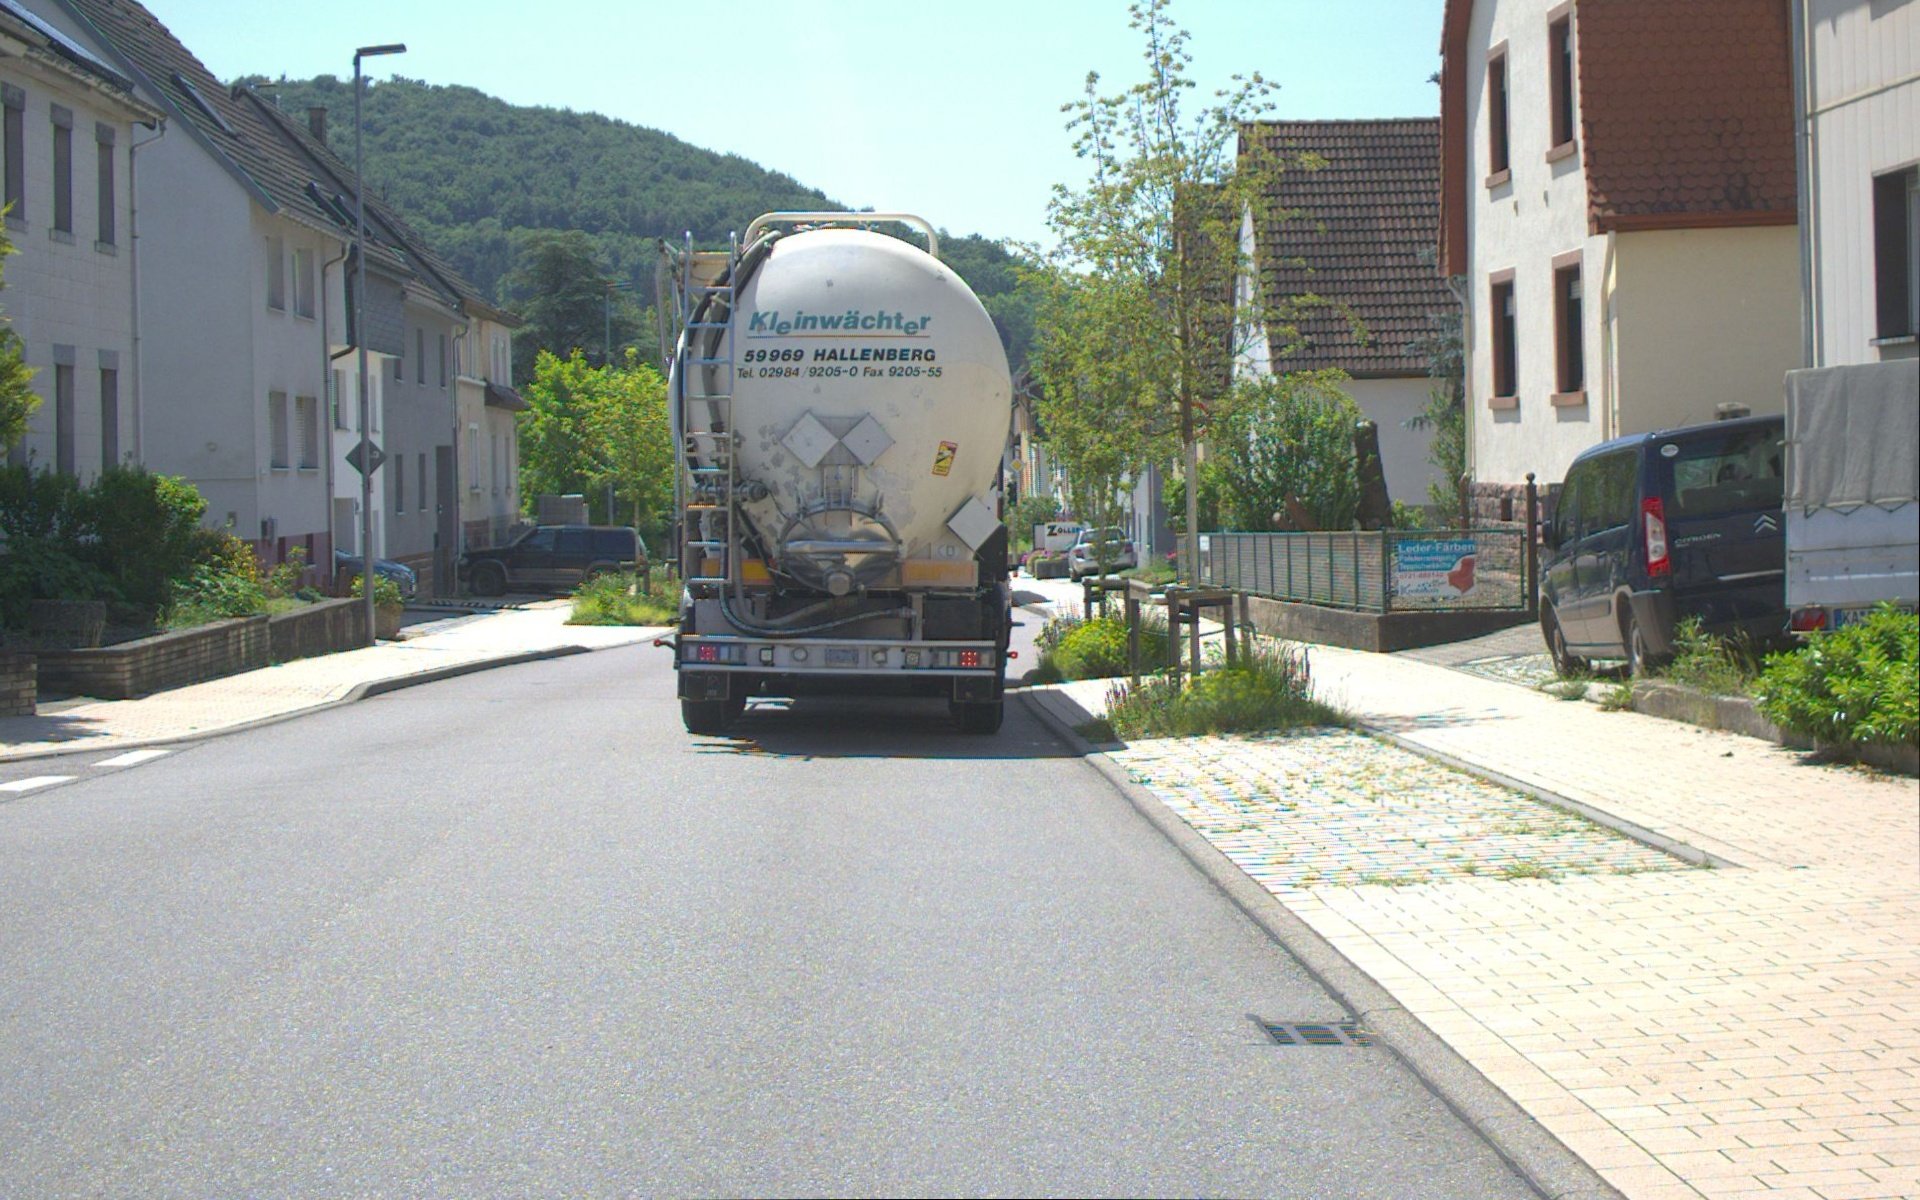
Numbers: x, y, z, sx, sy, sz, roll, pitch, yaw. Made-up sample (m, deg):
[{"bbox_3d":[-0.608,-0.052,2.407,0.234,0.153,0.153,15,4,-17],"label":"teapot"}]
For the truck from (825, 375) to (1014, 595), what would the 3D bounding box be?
[{"bbox_3d":[-1.103,-2.717,83.069,3.910,4.879,9.798,-2,1,-4],"label":"truck"}]

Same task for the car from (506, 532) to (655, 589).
[{"bbox_3d":[-9.819,-1.022,88.884,3.546,1.434,1.695,0,1,33],"label":"car"}]

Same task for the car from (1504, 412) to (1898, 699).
[{"bbox_3d":[5.672,-0.354,26.958,1.852,1.964,4.774,-3,1,-2],"label":"car"}]

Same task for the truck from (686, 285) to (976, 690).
[{"bbox_3d":[-1.290,-1.141,36.425,2.808,3.923,6.099,0,1,-1],"label":"truck"}]

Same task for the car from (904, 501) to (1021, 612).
[{"bbox_3d":[0.026,-0.785,60.969,1.993,1.897,4.000,0,1,0],"label":"car"}]

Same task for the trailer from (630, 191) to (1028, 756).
[{"bbox_3d":[-1.082,-0.981,29.465,2.796,3.987,10.325,0,1,-2],"label":"trailer"}]

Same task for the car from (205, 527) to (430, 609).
[{"bbox_3d":[-12.314,-0.626,66.044,3.987,1.540,1.832,0,1,-1],"label":"car"}]

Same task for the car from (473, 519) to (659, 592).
[{"bbox_3d":[-9.686,-1.107,84.774,4.394,1.744,1.878,0,1,-2],"label":"car"}]

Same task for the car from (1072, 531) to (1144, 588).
[{"bbox_3d":[4.083,-1.141,95.445,1.791,1.536,4.520,0,1,0],"label":"car"}]

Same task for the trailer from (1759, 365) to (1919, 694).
[{"bbox_3d":[6.282,-0.446,22.073,1.323,2.007,2.268,1,1,41],"label":"trailer"}]
